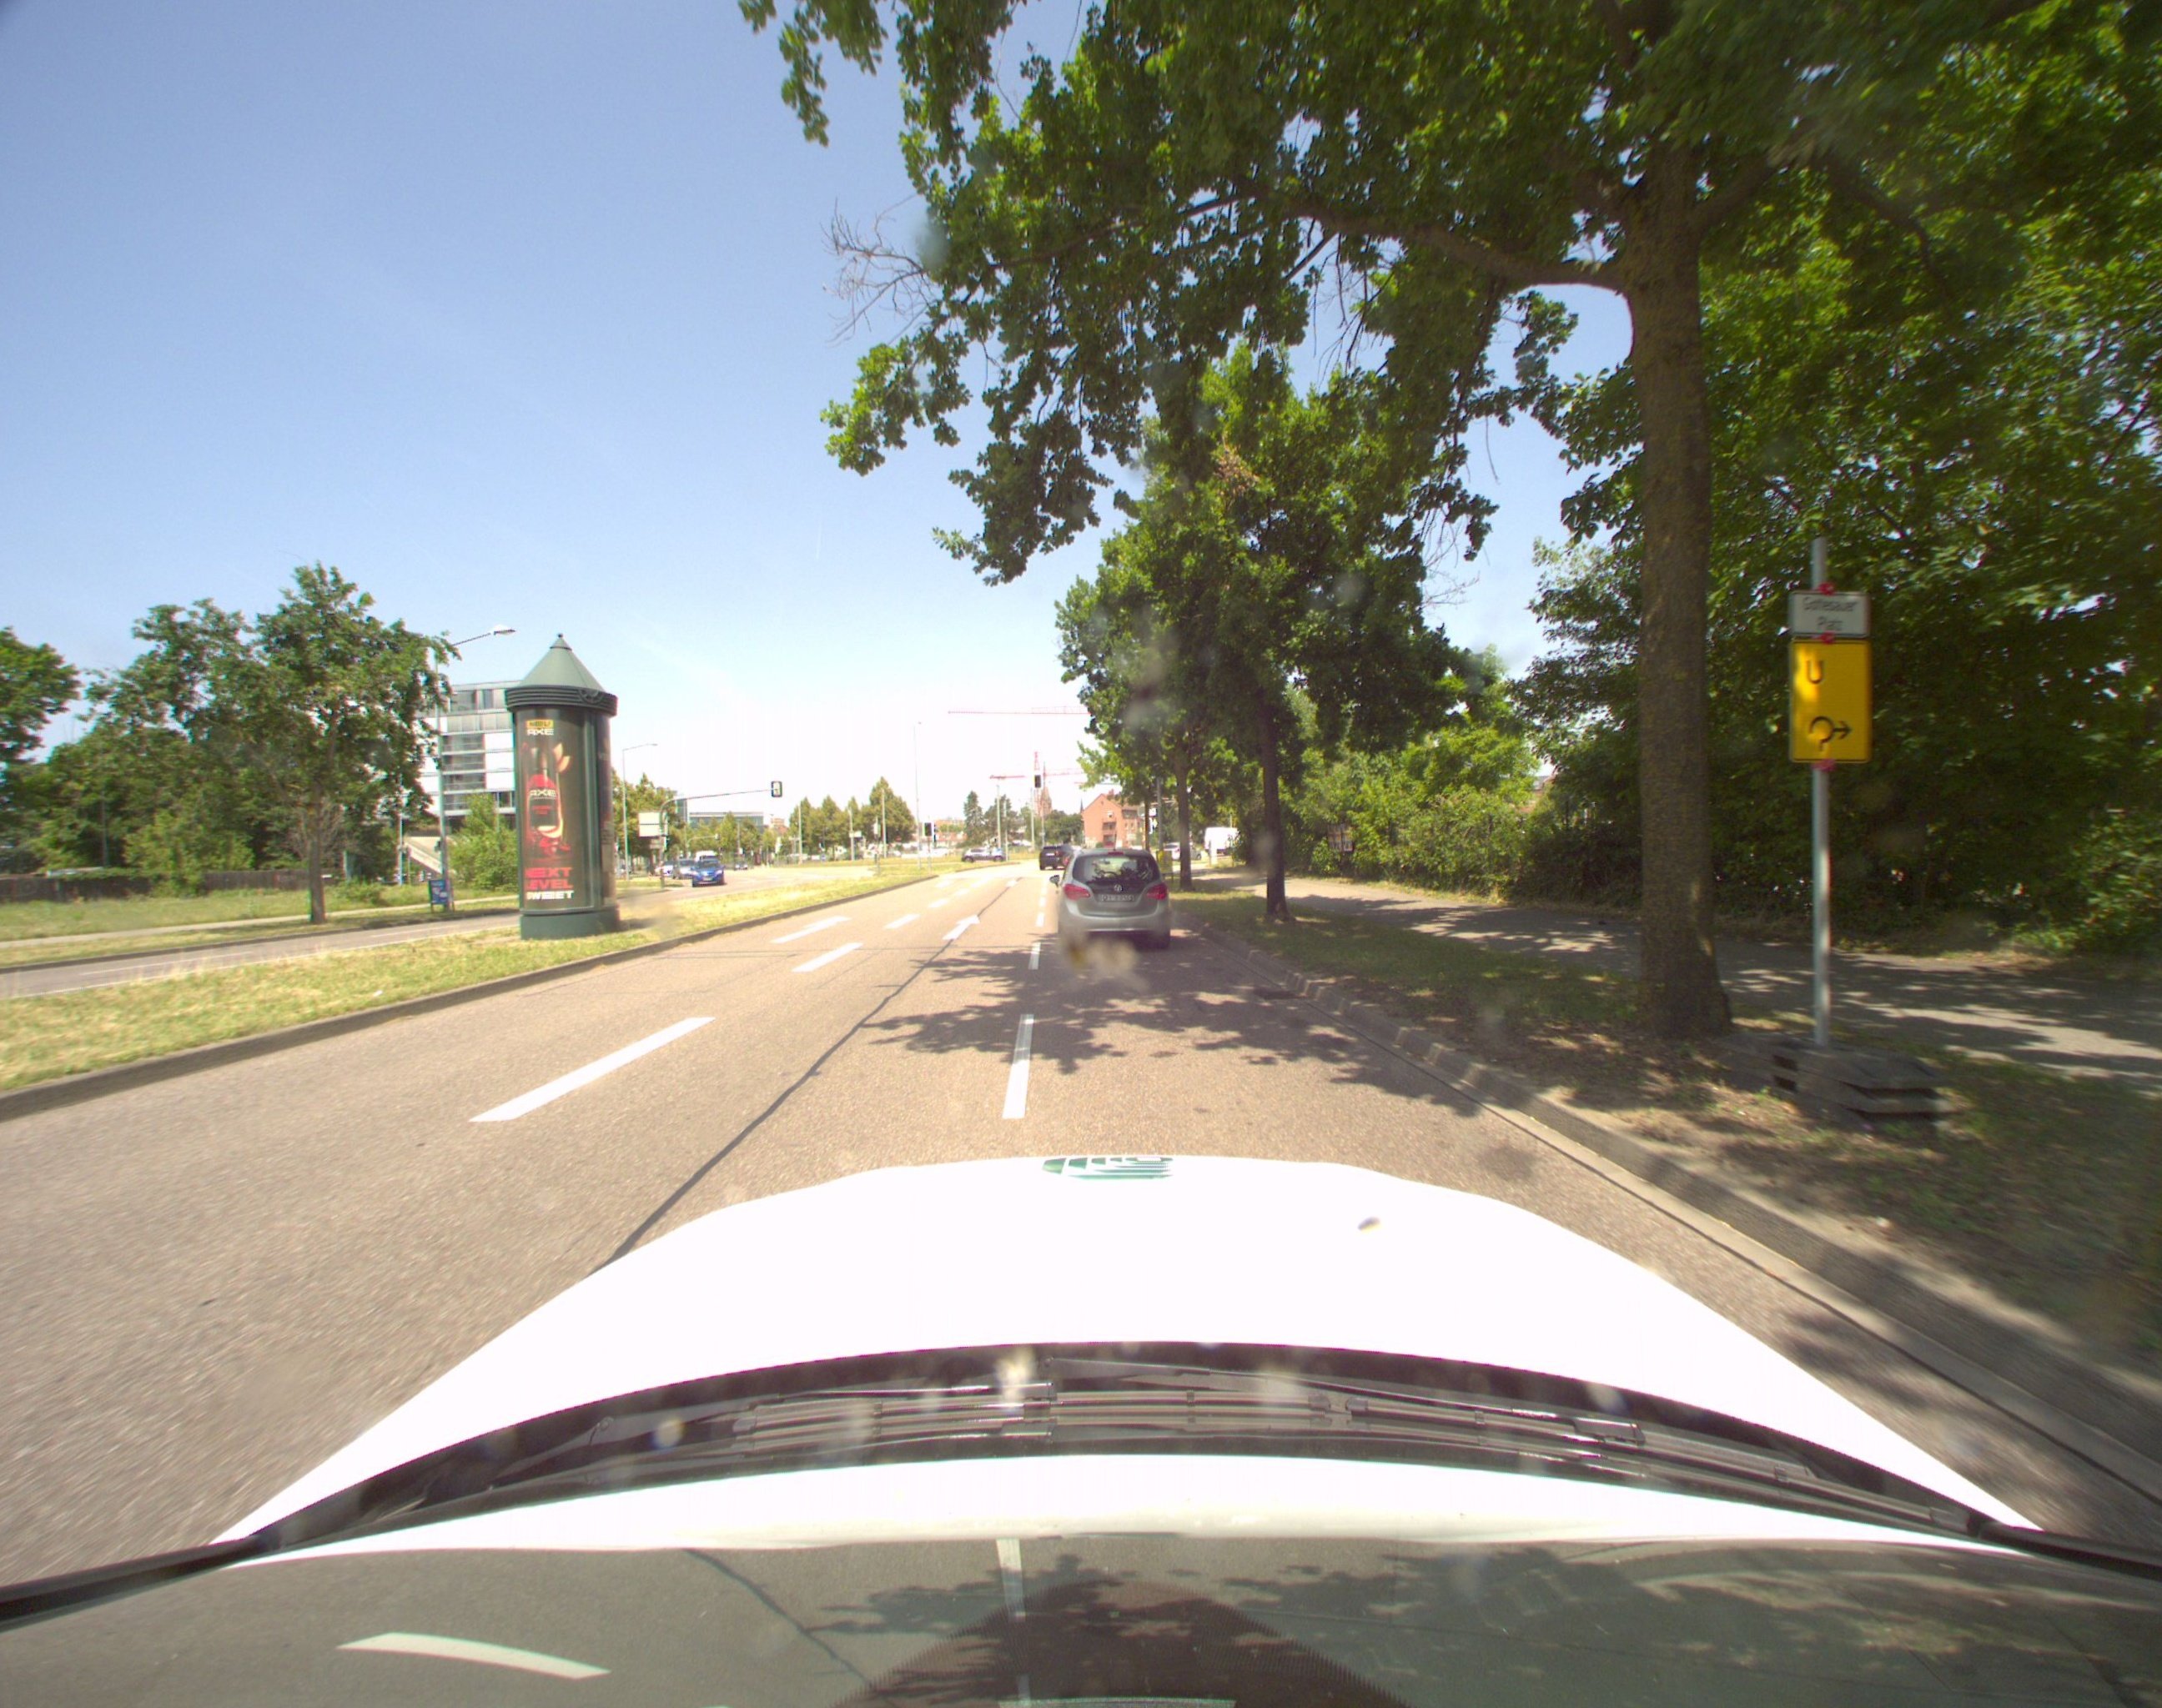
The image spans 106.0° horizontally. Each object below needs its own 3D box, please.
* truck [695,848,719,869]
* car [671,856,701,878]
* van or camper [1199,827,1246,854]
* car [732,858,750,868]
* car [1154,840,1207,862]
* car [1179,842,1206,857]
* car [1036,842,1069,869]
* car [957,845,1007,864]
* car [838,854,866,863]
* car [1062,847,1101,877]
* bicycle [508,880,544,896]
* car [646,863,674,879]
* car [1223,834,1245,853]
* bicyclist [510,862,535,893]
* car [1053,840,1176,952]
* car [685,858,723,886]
[{"bbox_3d":[-51.002,0.619,111.030,2.369,2.594,6.353,-2,0,-29],"label":"truck"},{"bbox_3d":[-31.617,1.014,65.117,2.005,1.596,3.964,-2,0,-27],"label":"car"},{"bbox_3d":[12.748,-1.234,72.907,2.469,2.291,4.952,-2,0,31],"label":"van or camper"},{"bbox_3d":[-45.366,1.185,108.541,1.860,1.276,3.965,-2,0,-27],"label":"car"},{"bbox_3d":[7.405,-0.218,60.534,1.926,1.442,4.025,-2,0,42],"label":"car"},{"bbox_3d":[12.607,-0.510,91.788,1.976,1.649,4.022,-2,0,22],"label":"car"},{"bbox_3d":[-1.829,0.045,53.262,1.992,1.689,4.032,-1,1,-1],"label":"car"},{"bbox_3d":[-8.421,0.066,69.571,3.976,1.453,1.999,-2,0,-2],"label":"car"},{"bbox_3d":[-37.590,0.804,133.575,3.952,1.288,2.011,-2,0,22],"label":"car"},{"bbox_3d":[0.022,0.398,44.617,2.008,1.517,4.460,-2,0,0],"label":"car"},{"bbox_3d":[-27.542,1.684,40.435,0.479,0.715,1.851,-2,0,1],"label":"bicycle"},{"bbox_3d":[-38.404,1.535,74.233,1.753,1.424,3.800,-2,0,-34],"label":"car"},{"bbox_3d":[16.826,-1.174,89.353,1.978,2.013,4.017,-2,0,16],"label":"car"},{"bbox_3d":[-27.574,1.157,40.209,0.621,1.489,0.757,-2,0,1],"label":"bicyclist"},{"bbox_3d":[0.436,0.602,14.045,1.788,1.612,3.887,-2,0,-2],"label":"car"},{"bbox_3d":[-23.334,1.071,50.446,2.003,1.596,3.967,-2,0,-25],"label":"car"}]
